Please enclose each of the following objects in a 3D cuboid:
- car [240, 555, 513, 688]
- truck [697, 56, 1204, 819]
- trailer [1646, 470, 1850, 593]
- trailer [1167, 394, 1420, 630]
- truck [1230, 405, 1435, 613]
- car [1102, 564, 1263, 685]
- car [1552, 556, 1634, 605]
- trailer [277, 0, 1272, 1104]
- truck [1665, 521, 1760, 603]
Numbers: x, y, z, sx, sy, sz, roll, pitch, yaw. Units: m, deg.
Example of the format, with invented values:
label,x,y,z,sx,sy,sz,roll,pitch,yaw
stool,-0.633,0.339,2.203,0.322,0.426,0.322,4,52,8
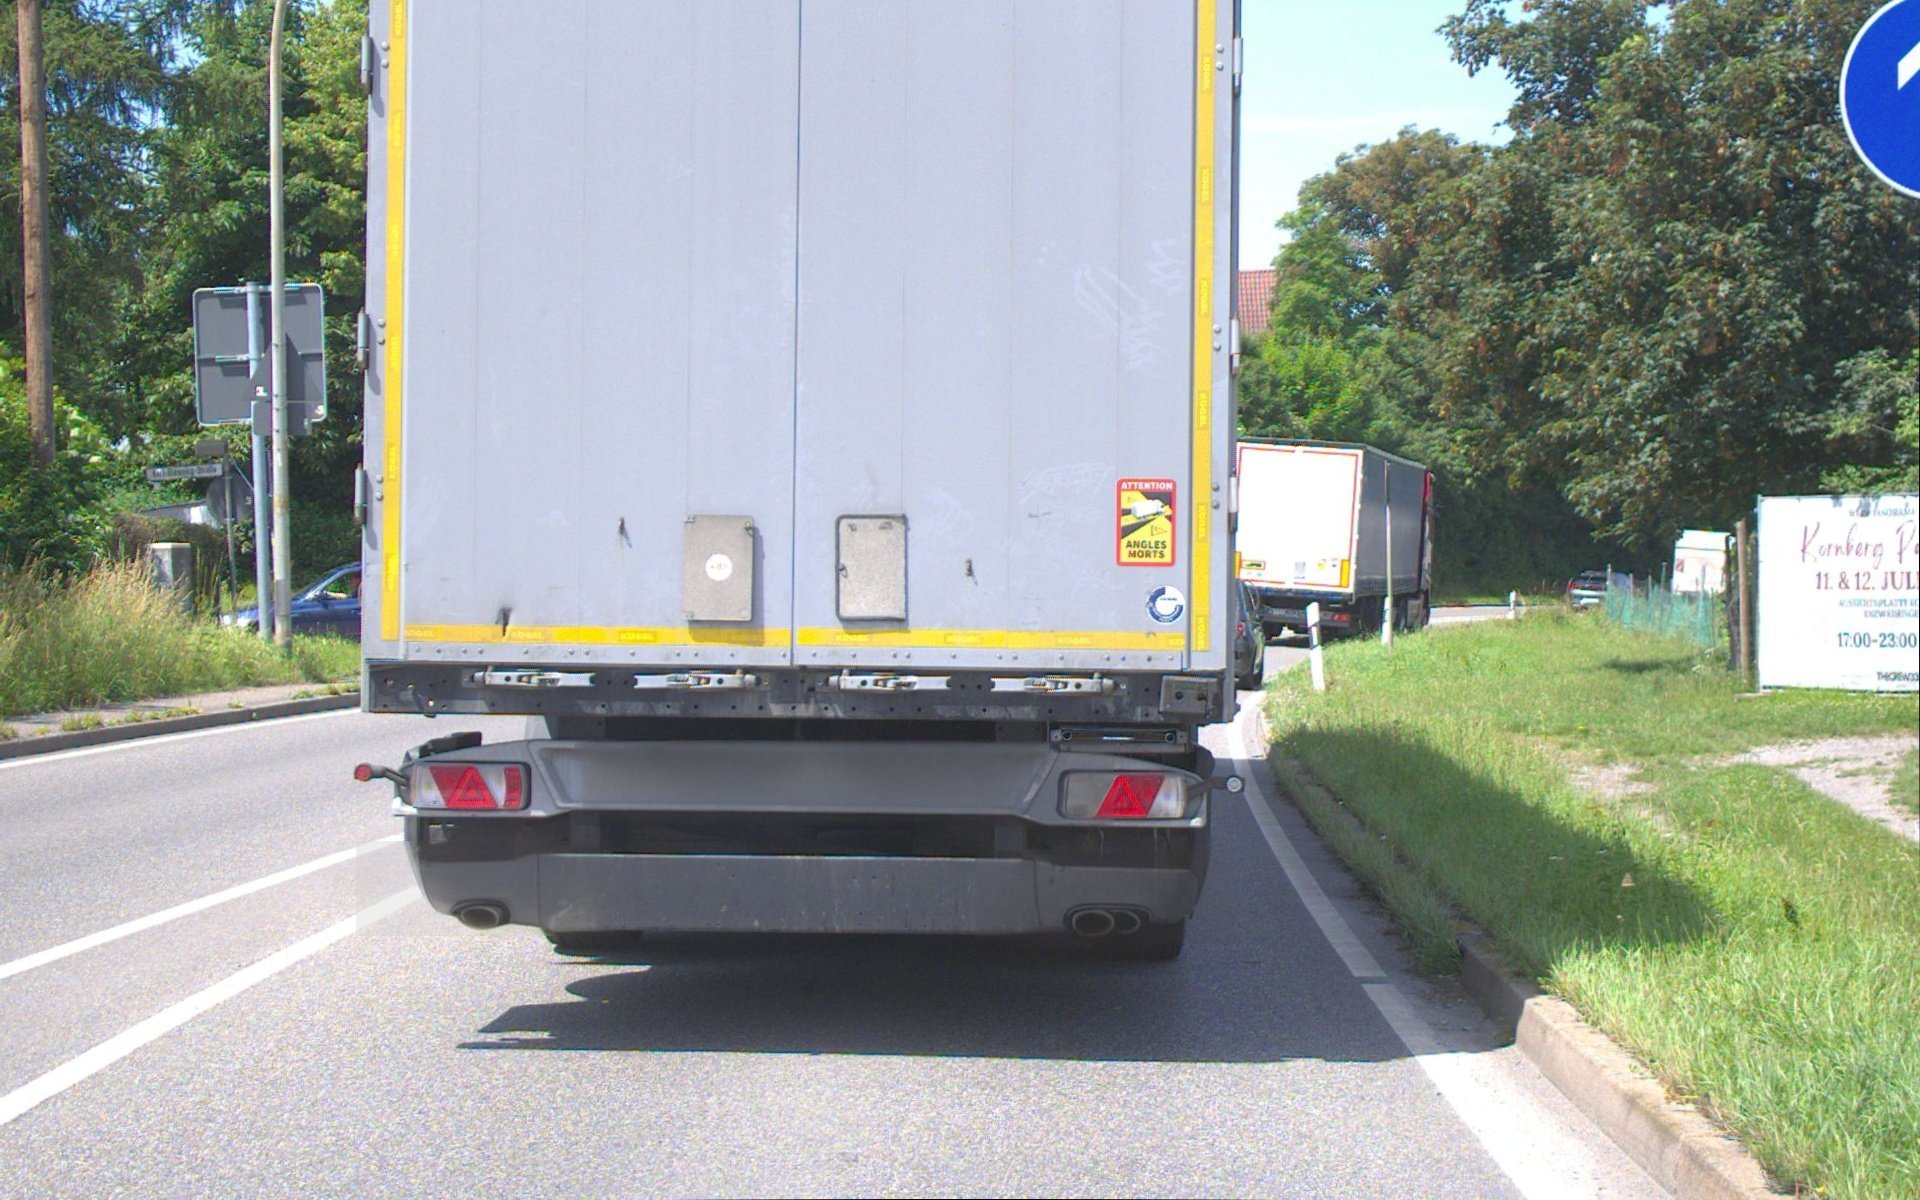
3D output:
label,x,y,z,sx,sy,sz,roll,pitch,yaw
car,-9.186,0.312,54.004,4.067,2.007,2.001,0,1,-15
truck,0.111,-0.967,21.855,2.746,4.151,6.142,0,1,3
trailer,31.782,-2.788,137.815,5.186,4.612,15.876,1,2,23
trailer,7.253,-1.782,72.509,3.893,4.505,12.706,0,1,12
truck,8.667,-2.057,79.223,3.939,4.559,7.148,0,1,12
car,3.083,0.298,46.951,1.994,1.525,3.999,0,1,7
car,20.272,-0.646,109.924,1.843,1.481,3.996,1,1,21
trailer,-0.214,-0.849,15.682,2.787,4.191,12.110,0,1,3
truck,26.606,-1.382,121.440,2.423,2.828,5.406,1,1,22
